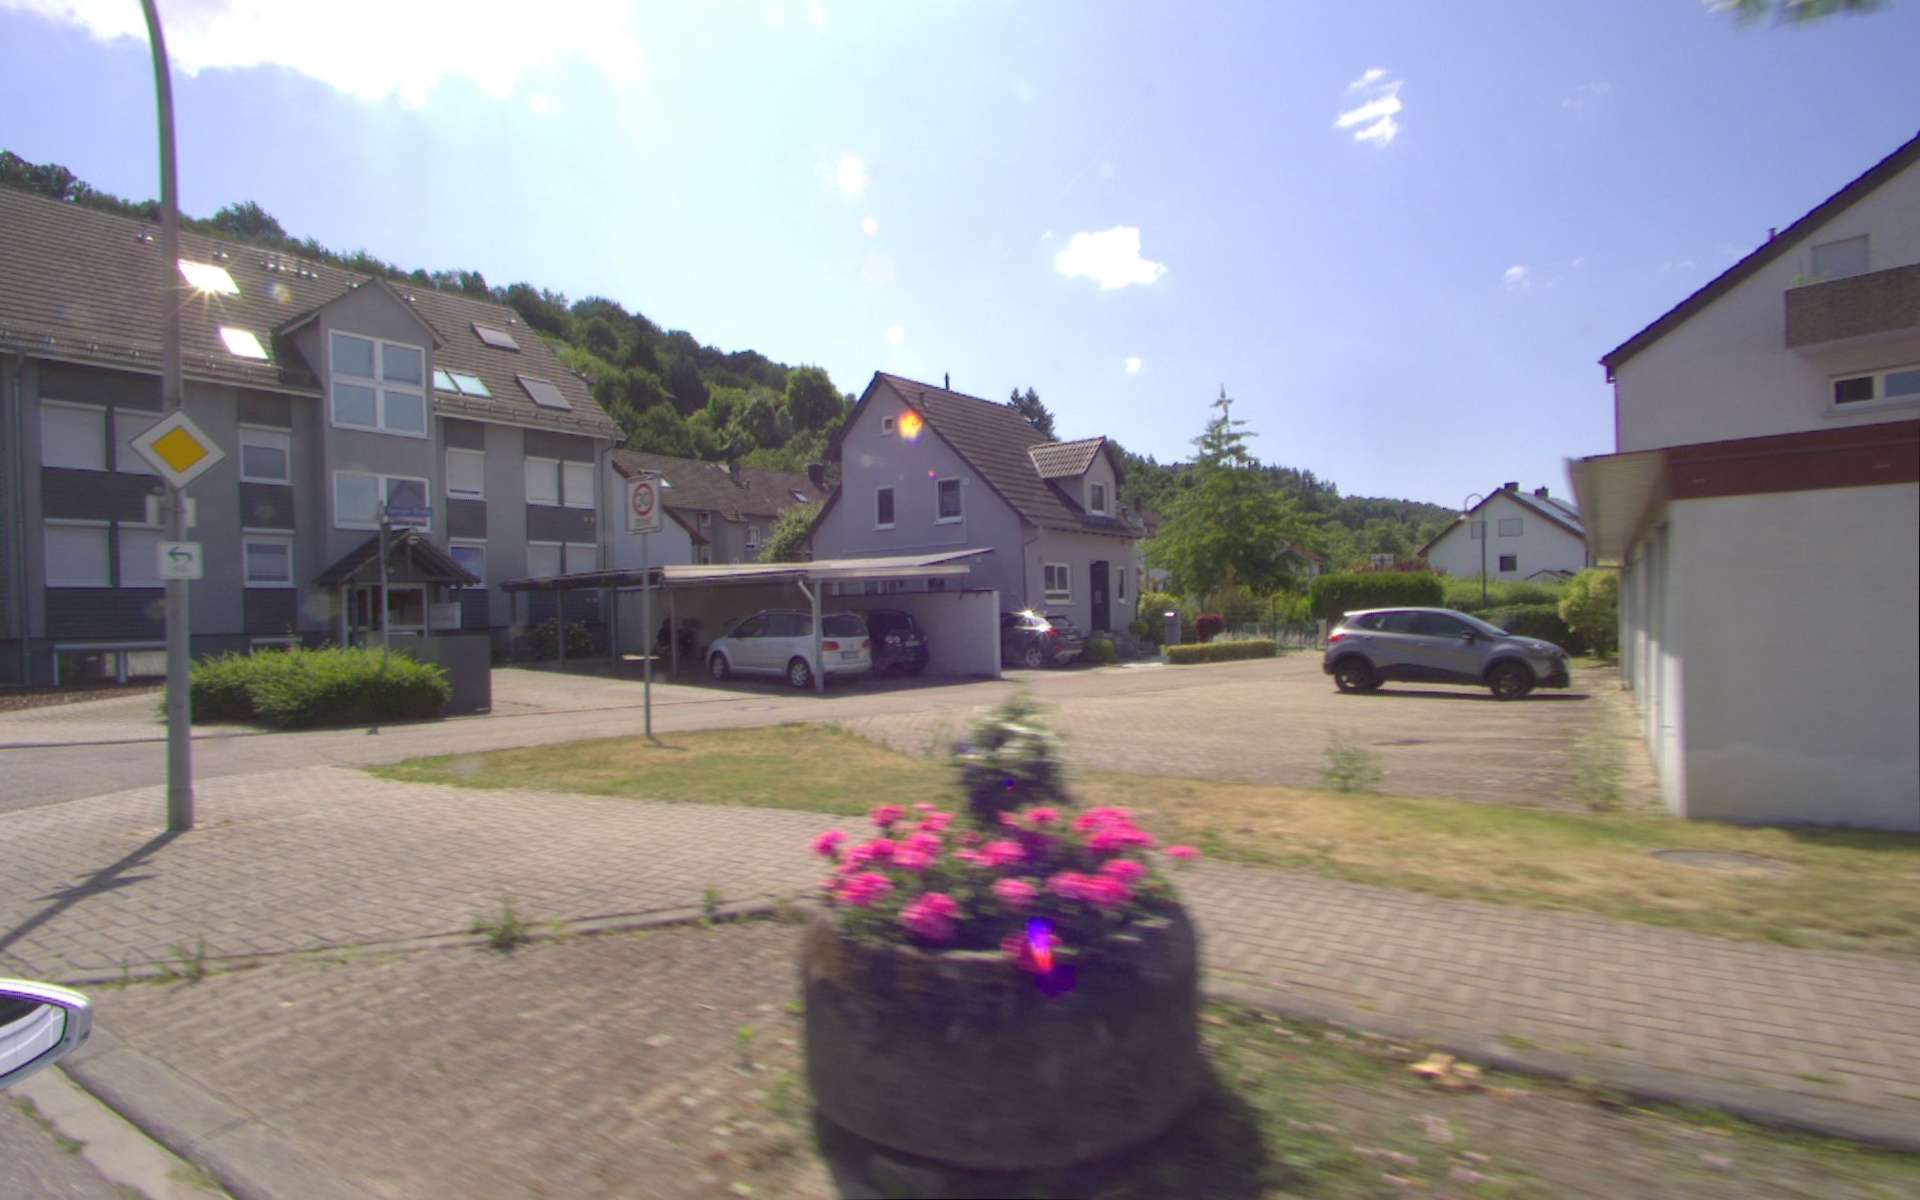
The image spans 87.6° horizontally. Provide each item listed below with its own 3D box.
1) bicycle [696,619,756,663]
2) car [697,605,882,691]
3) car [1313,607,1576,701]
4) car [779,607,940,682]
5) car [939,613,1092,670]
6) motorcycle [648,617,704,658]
[{"bbox_3d":[-6.854,1.178,29.242,1.927,1.188,0.645,1,1,38],"label":"bicycle"},{"bbox_3d":[-3.870,0.996,22.469,4.160,1.671,1.730,1,2,37],"label":"car"},{"bbox_3d":[8.726,0.931,18.160,4.077,1.522,1.670,-1,-1,35],"label":"car"},{"bbox_3d":[-2.512,1.028,24.626,3.802,1.609,1.730,1,2,37],"label":"car"},{"bbox_3d":[1.539,1.132,28.103,3.944,1.490,1.804,-1,-1,33],"label":"car"},{"bbox_3d":[-8.736,1.132,30.800,1.927,1.179,0.645,1,1,38],"label":"motorcycle"}]
